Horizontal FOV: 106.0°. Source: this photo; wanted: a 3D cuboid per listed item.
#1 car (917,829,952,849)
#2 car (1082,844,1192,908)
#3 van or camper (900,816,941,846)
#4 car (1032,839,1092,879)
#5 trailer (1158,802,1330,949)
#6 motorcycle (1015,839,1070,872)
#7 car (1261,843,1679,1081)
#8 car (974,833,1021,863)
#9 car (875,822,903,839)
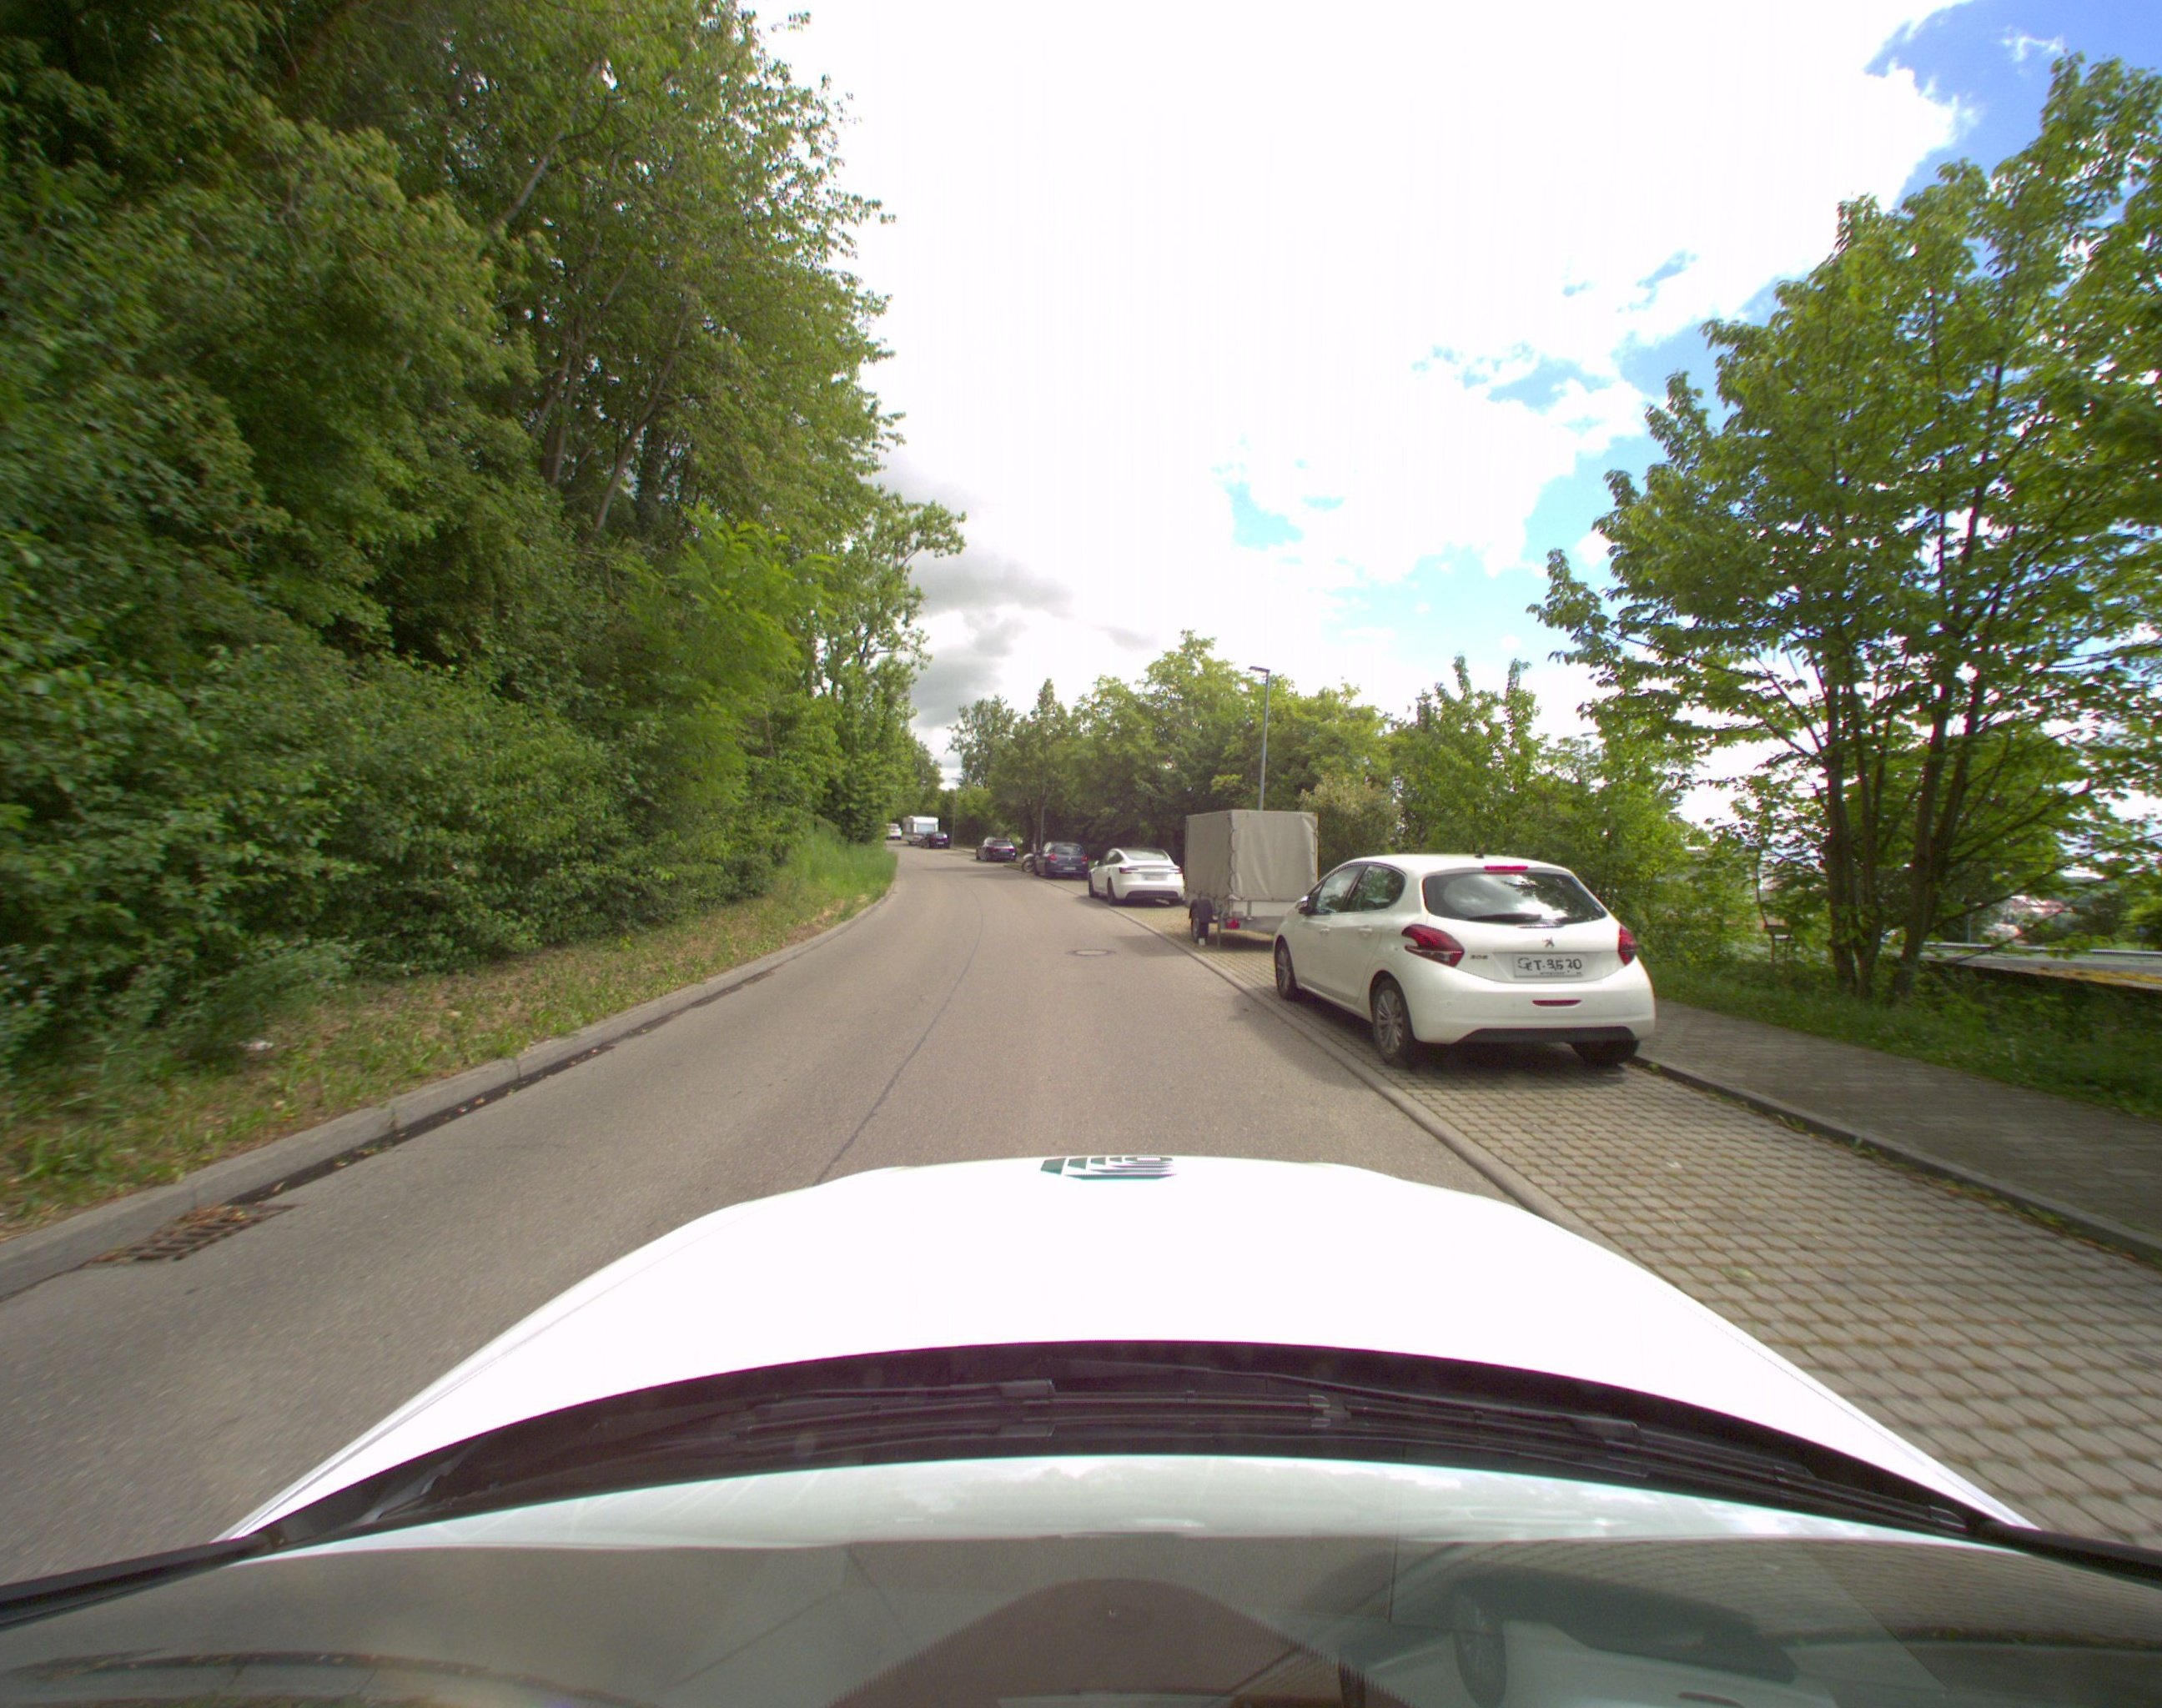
[{"bbox_3d":[-12.026,-1.232,66.711,1.690,1.450,4.445,1,2,-25],"label":"car"},{"bbox_3d":[1.355,0.491,22.027,1.863,1.477,4.885,0,1,-10],"label":"car"},{"bbox_3d":[-14.247,-2.056,71.999,2.366,2.553,5.034,0,2,-25],"label":"van or camper"},{"bbox_3d":[-0.856,0.177,33.605,1.770,1.517,4.091,1,1,-12],"label":"car"},{"bbox_3d":[2.520,0.294,13.526,1.728,2.078,3.774,0,0,-7],"label":"trailer"},{"bbox_3d":[-1.753,0.065,37.232,2.290,1.475,0.978,0,1,11],"label":"motorcycle"},{"bbox_3d":[2.868,0.663,6.999,1.701,1.477,3.780,0,0,-2],"label":"car"},{"bbox_3d":[-5.016,-0.392,48.489,1.897,1.529,4.521,2,2,-17],"label":"car"},{"bbox_3d":[-19.697,-2.446,83.581,1.814,1.599,4.335,0,3,-27],"label":"car"}]
